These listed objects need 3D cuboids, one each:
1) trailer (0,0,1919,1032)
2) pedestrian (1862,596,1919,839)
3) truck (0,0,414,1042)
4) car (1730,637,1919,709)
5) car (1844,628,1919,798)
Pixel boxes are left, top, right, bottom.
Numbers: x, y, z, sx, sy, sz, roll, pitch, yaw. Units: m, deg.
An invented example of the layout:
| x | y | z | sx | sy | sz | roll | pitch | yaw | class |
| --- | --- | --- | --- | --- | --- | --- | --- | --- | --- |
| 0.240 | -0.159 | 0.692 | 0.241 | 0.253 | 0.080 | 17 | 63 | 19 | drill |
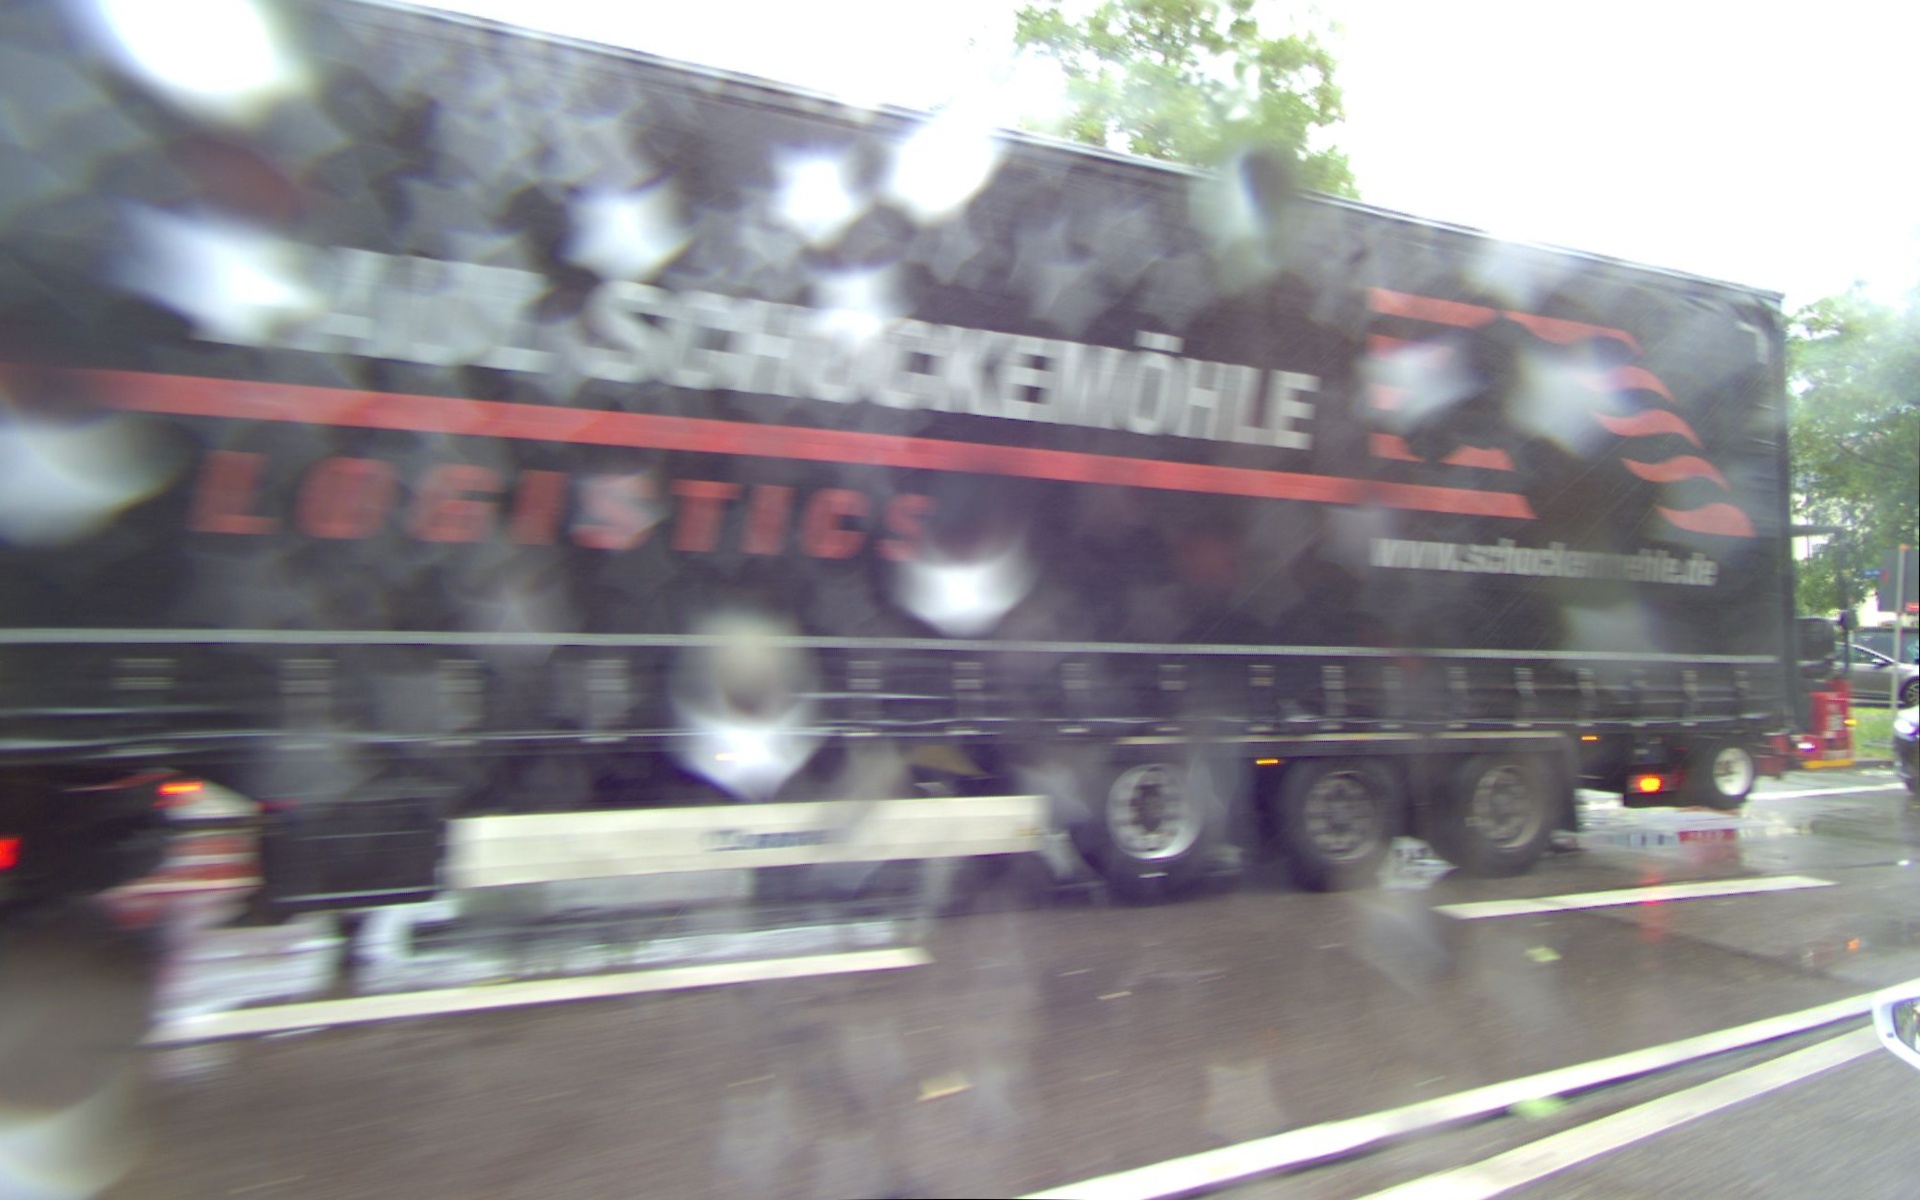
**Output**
| x | y | z | sx | sy | sz | roll | pitch | yaw | class |
| --- | --- | --- | --- | --- | --- | --- | --- | --- | --- |
| -0.034 | -0.423 | 6.606 | 14.822 | 4.102 | 3.438 | 1 | -2 | -20 | trailer |
| 7.817 | 0.901 | 7.703 | 0.854 | 1.867 | 0.992 | 0 | -2 | -2 | pedestrian |
| -6.498 | -0.516 | 4.211 | 6.868 | 4.132 | 3.446 | 1 | -2 | -20 | truck |
| 20.265 | 1.627 | 22.866 | 4.274 | 1.413 | 2.004 | 1 | -1 | 40 | car |
| 11.610 | 1.193 | 10.220 | 4.729 | 1.640 | 1.866 | 3 | -3 | -19 | car |
